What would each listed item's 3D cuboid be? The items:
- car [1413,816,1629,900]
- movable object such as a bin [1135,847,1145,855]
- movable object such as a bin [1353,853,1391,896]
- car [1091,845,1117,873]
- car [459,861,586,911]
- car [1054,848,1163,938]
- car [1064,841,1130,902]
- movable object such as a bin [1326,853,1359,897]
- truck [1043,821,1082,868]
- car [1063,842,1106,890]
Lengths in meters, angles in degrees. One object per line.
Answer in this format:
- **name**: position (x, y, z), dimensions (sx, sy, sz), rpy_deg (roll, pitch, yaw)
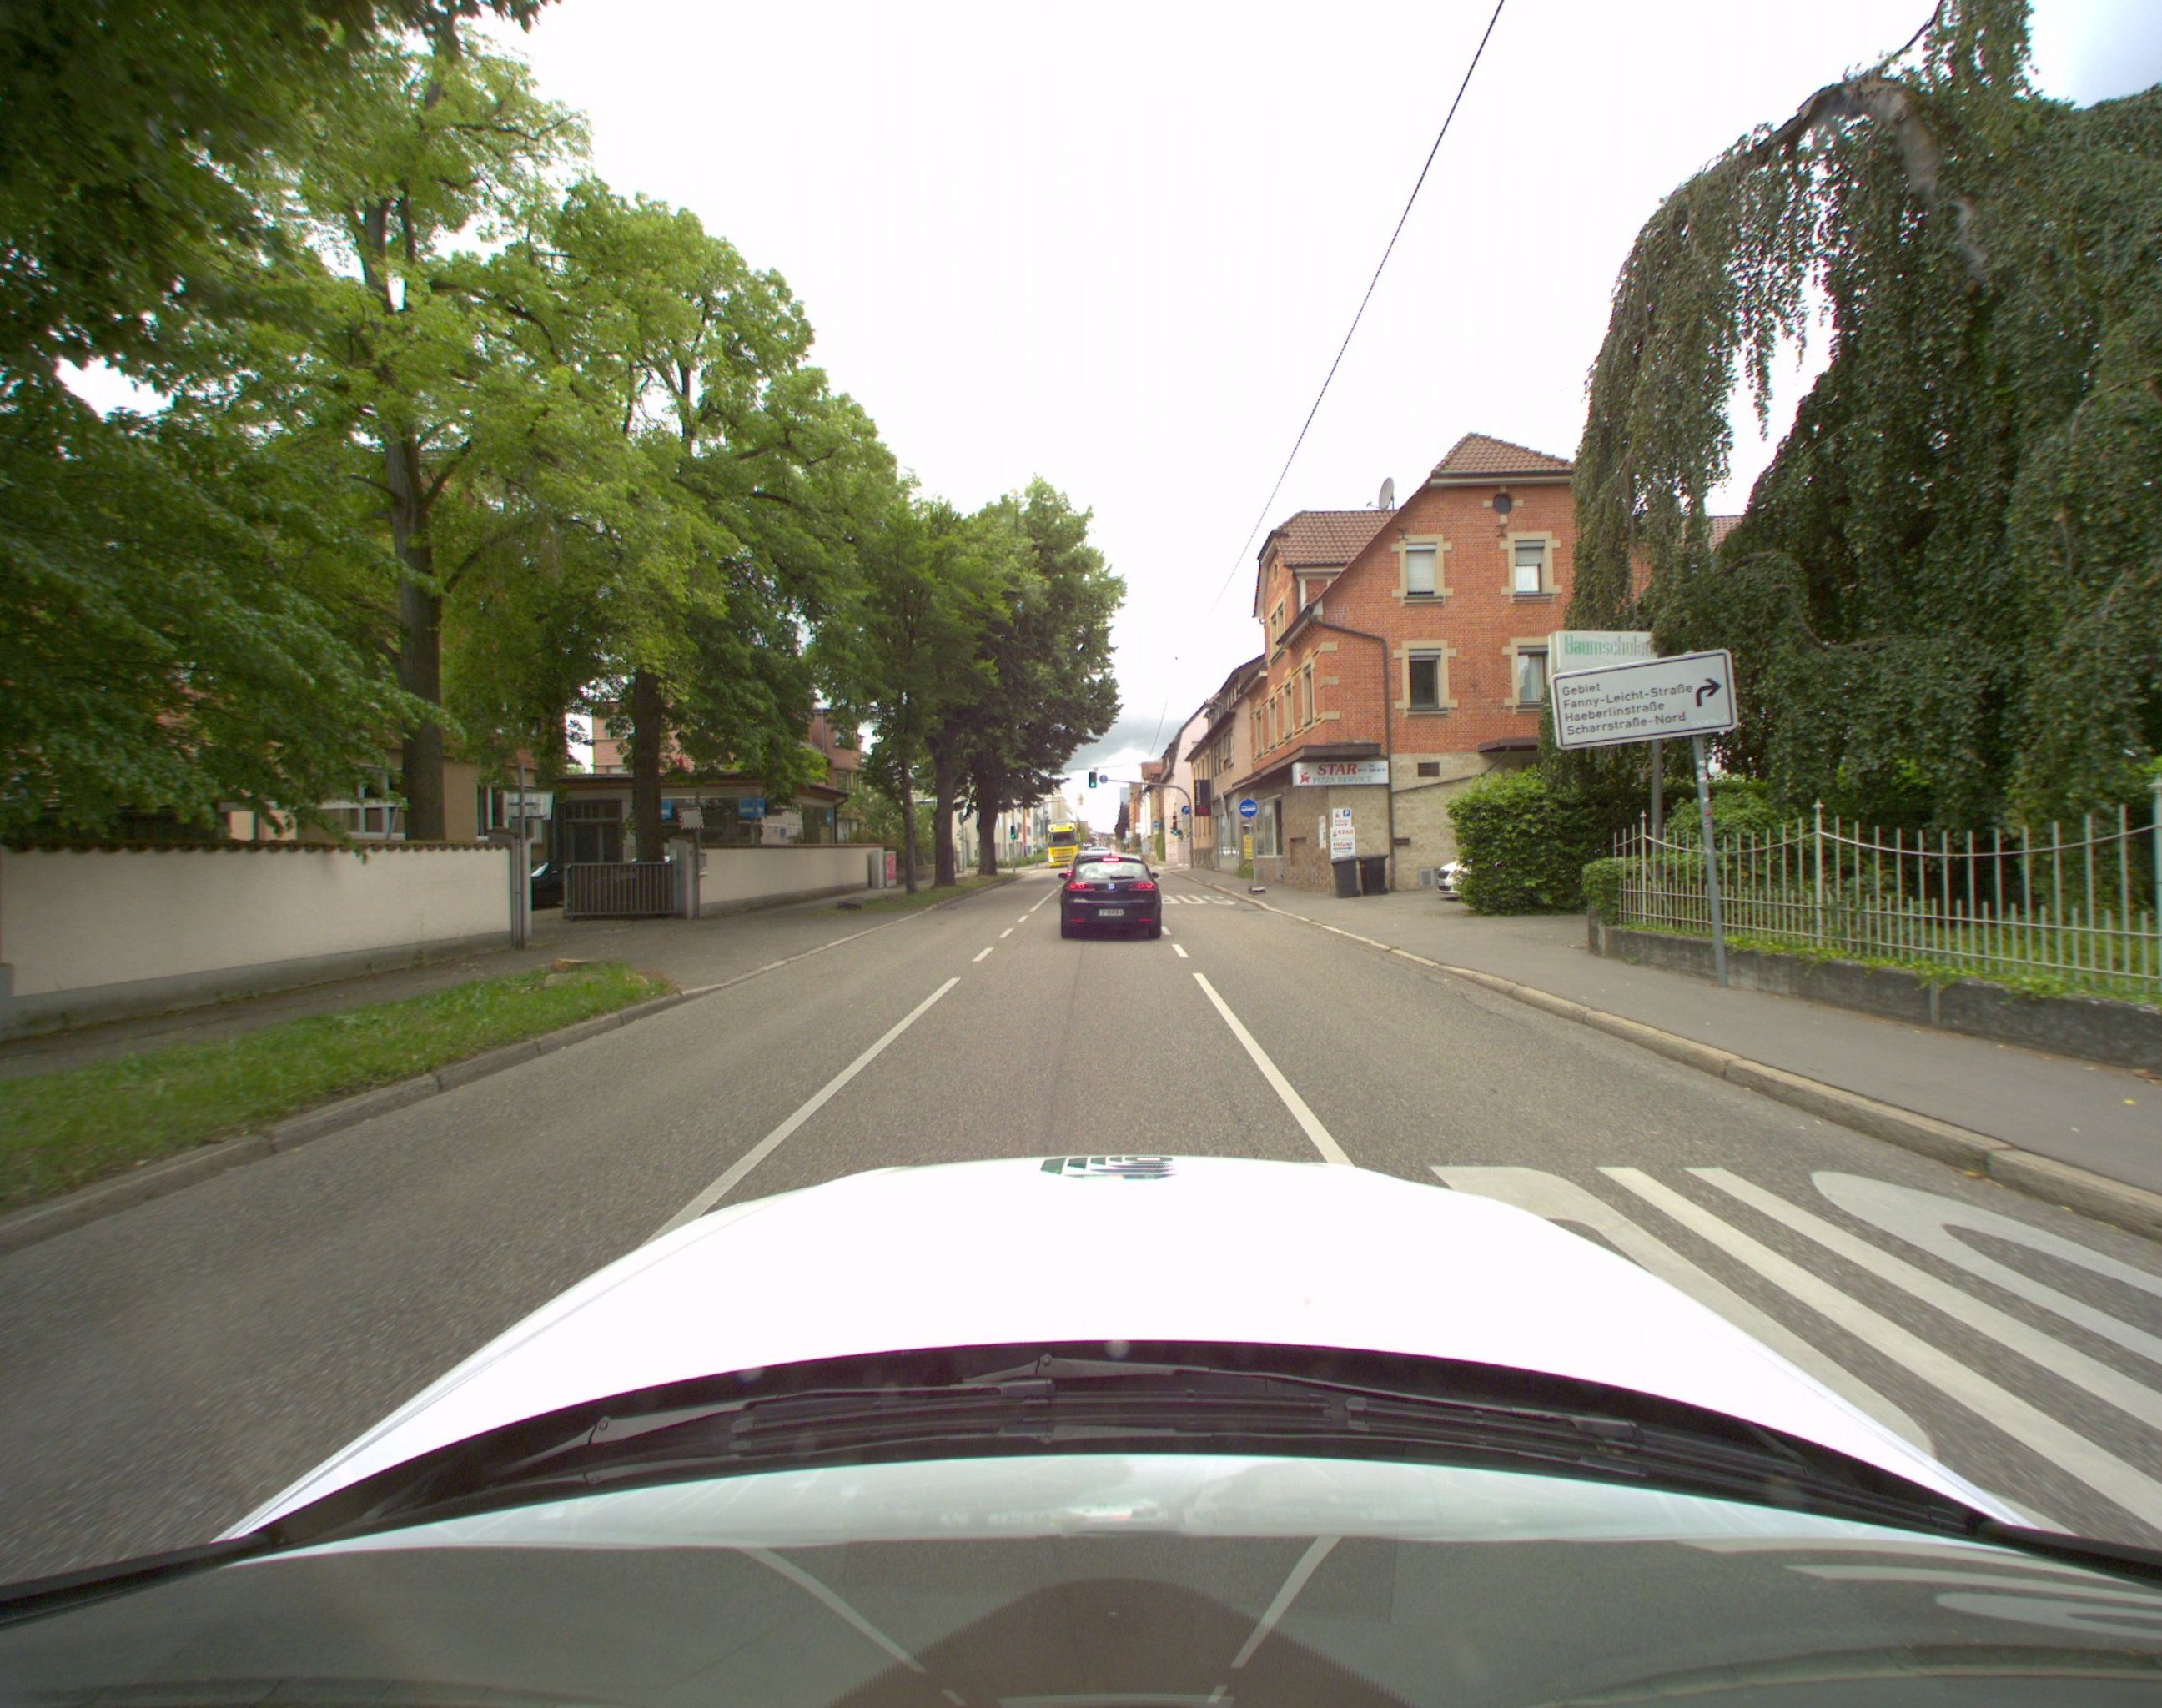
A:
- **car**: position (10.020, 0.089, 18.736), dimensions (4.017, 1.470, 1.600), rpy_deg (-5, 0, -1)
- **movable object such as a bin**: position (10.848, -0.568, 149.759), dimensions (1.811, 1.437, 1.994), rpy_deg (0, 0, 2)
- **movable object such as a bin**: position (7.590, 0.518, 21.279), dimensions (0.696, 1.059, 0.724), rpy_deg (-3, 0, 1)
- **car**: position (1.431, 0.291, 50.989), dimensions (1.526, 1.693, 3.694), rpy_deg (0, 0, 1)
- **car**: position (-16.187, 0.890, 23.809), dimensions (1.336, 1.330, 3.398), rpy_deg (0, 0, 1)
- **car**: position (0.506, 0.638, 15.196), dimensions (1.752, 1.442, 4.001), rpy_deg (0, 0, 1)
- **car**: position (0.502, 0.505, 24.902), dimensions (1.836, 1.693, 4.001), rpy_deg (0, 0, 1)
- **movable object such as a bin**: position (6.820, 0.543, 21.274), dimensions (0.604, 1.100, 0.623), rpy_deg (-3, 0, 1)
- **truck**: position (-1.527, -0.748, 69.585), dimensions (2.833, 3.782, 7.673), rpy_deg (0, 0, 2)
- **car**: position (0.170, 0.437, 31.194), dimensions (1.526, 1.693, 3.694), rpy_deg (0, 0, 1)
